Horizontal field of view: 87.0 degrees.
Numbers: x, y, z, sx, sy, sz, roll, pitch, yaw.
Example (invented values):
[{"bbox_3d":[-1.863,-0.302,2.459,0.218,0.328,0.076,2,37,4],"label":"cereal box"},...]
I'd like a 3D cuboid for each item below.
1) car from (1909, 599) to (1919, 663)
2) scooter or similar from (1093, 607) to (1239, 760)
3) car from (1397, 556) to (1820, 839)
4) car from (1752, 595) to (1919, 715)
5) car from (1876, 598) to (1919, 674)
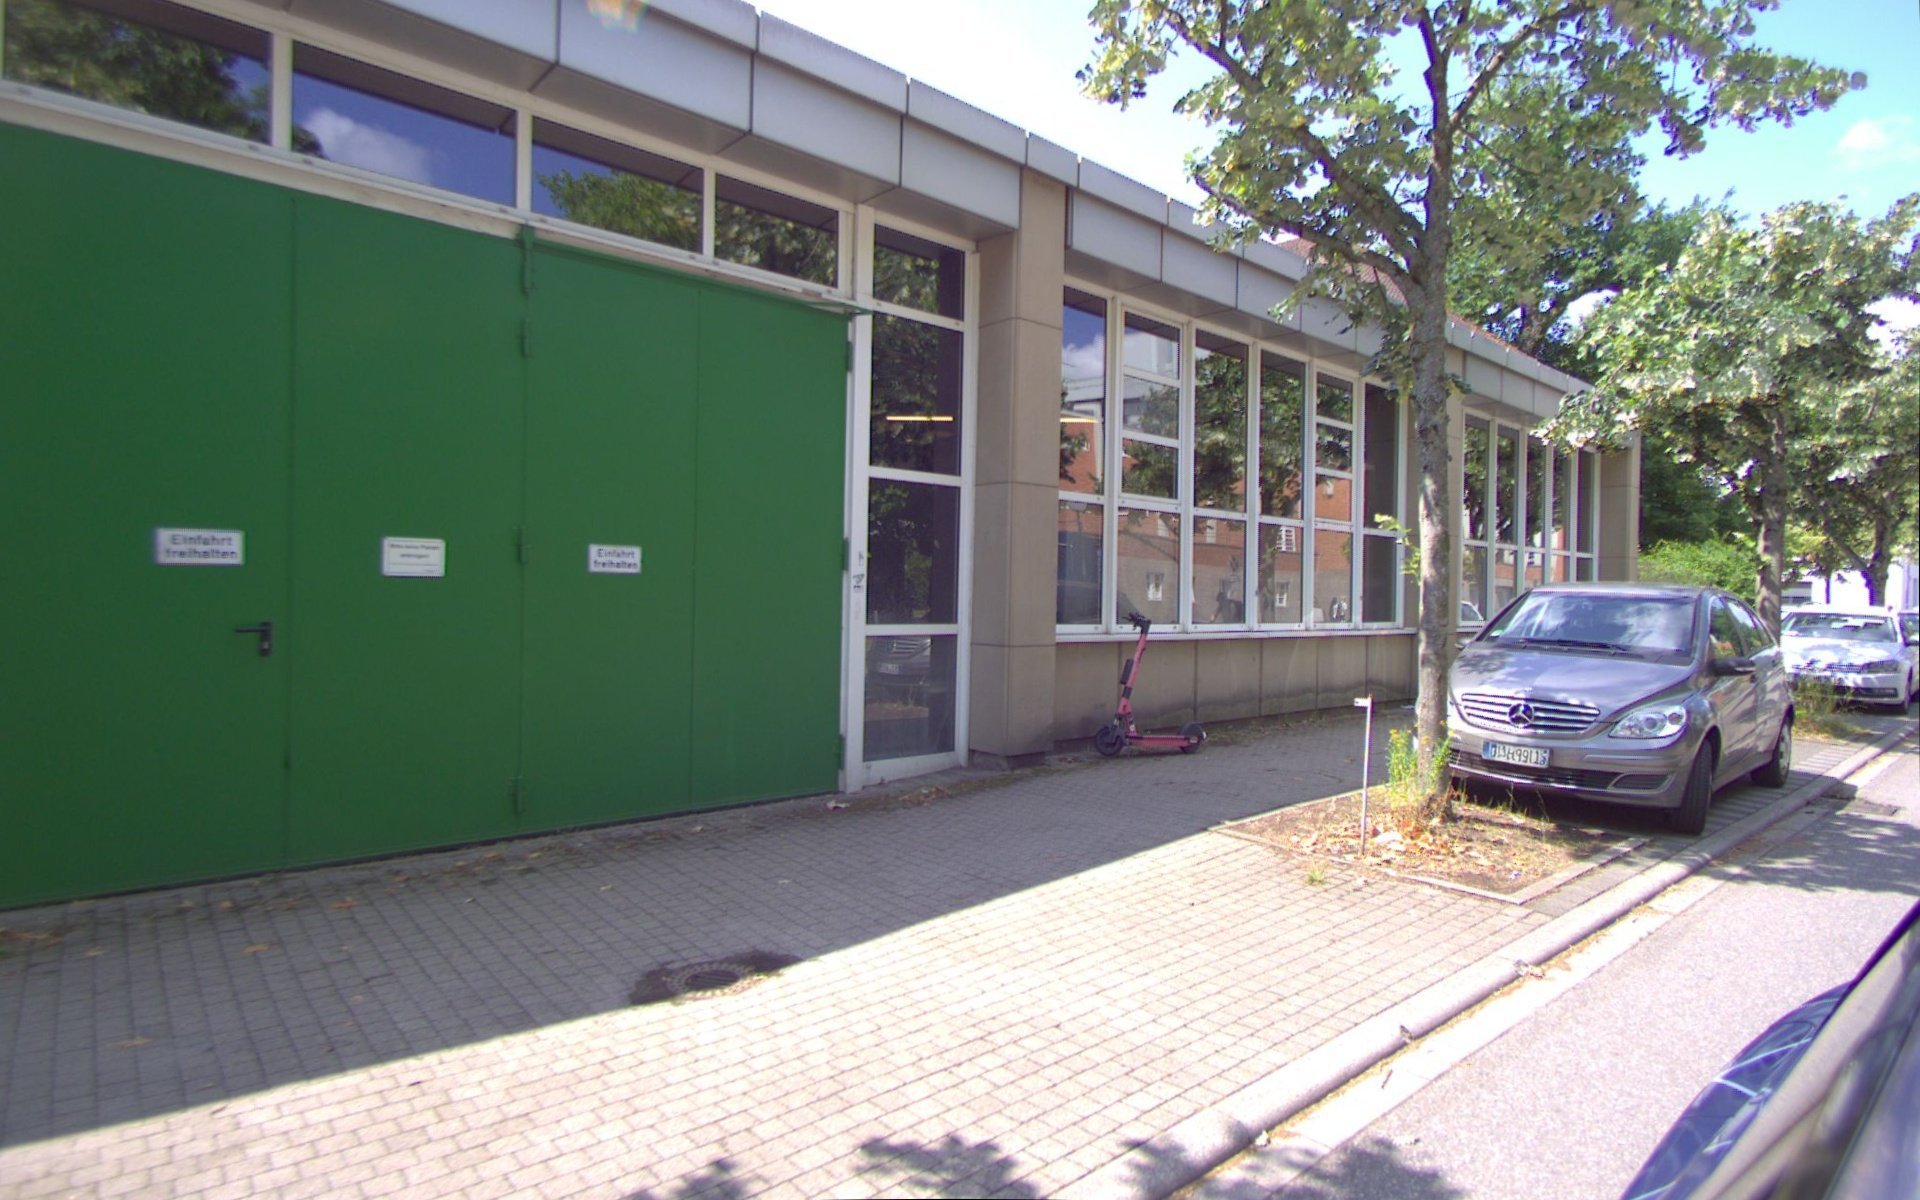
[{"bbox_3d":[24.446,0.732,24.714,3.922,1.484,1.589,-1,1,-43],"label":"car"},{"bbox_3d":[1.827,0.683,8.870,1.467,1.232,0.416,1,2,-41],"label":"scooter or similar"},{"bbox_3d":[5.120,0.535,7.753,4.069,1.593,1.707,0,2,-42],"label":"car"},{"bbox_3d":[13.419,0.715,15.138,4.592,1.485,1.728,1,1,-43],"label":"car"},{"bbox_3d":[19.821,0.693,20.432,3.922,1.408,1.648,0,1,-43],"label":"car"}]
